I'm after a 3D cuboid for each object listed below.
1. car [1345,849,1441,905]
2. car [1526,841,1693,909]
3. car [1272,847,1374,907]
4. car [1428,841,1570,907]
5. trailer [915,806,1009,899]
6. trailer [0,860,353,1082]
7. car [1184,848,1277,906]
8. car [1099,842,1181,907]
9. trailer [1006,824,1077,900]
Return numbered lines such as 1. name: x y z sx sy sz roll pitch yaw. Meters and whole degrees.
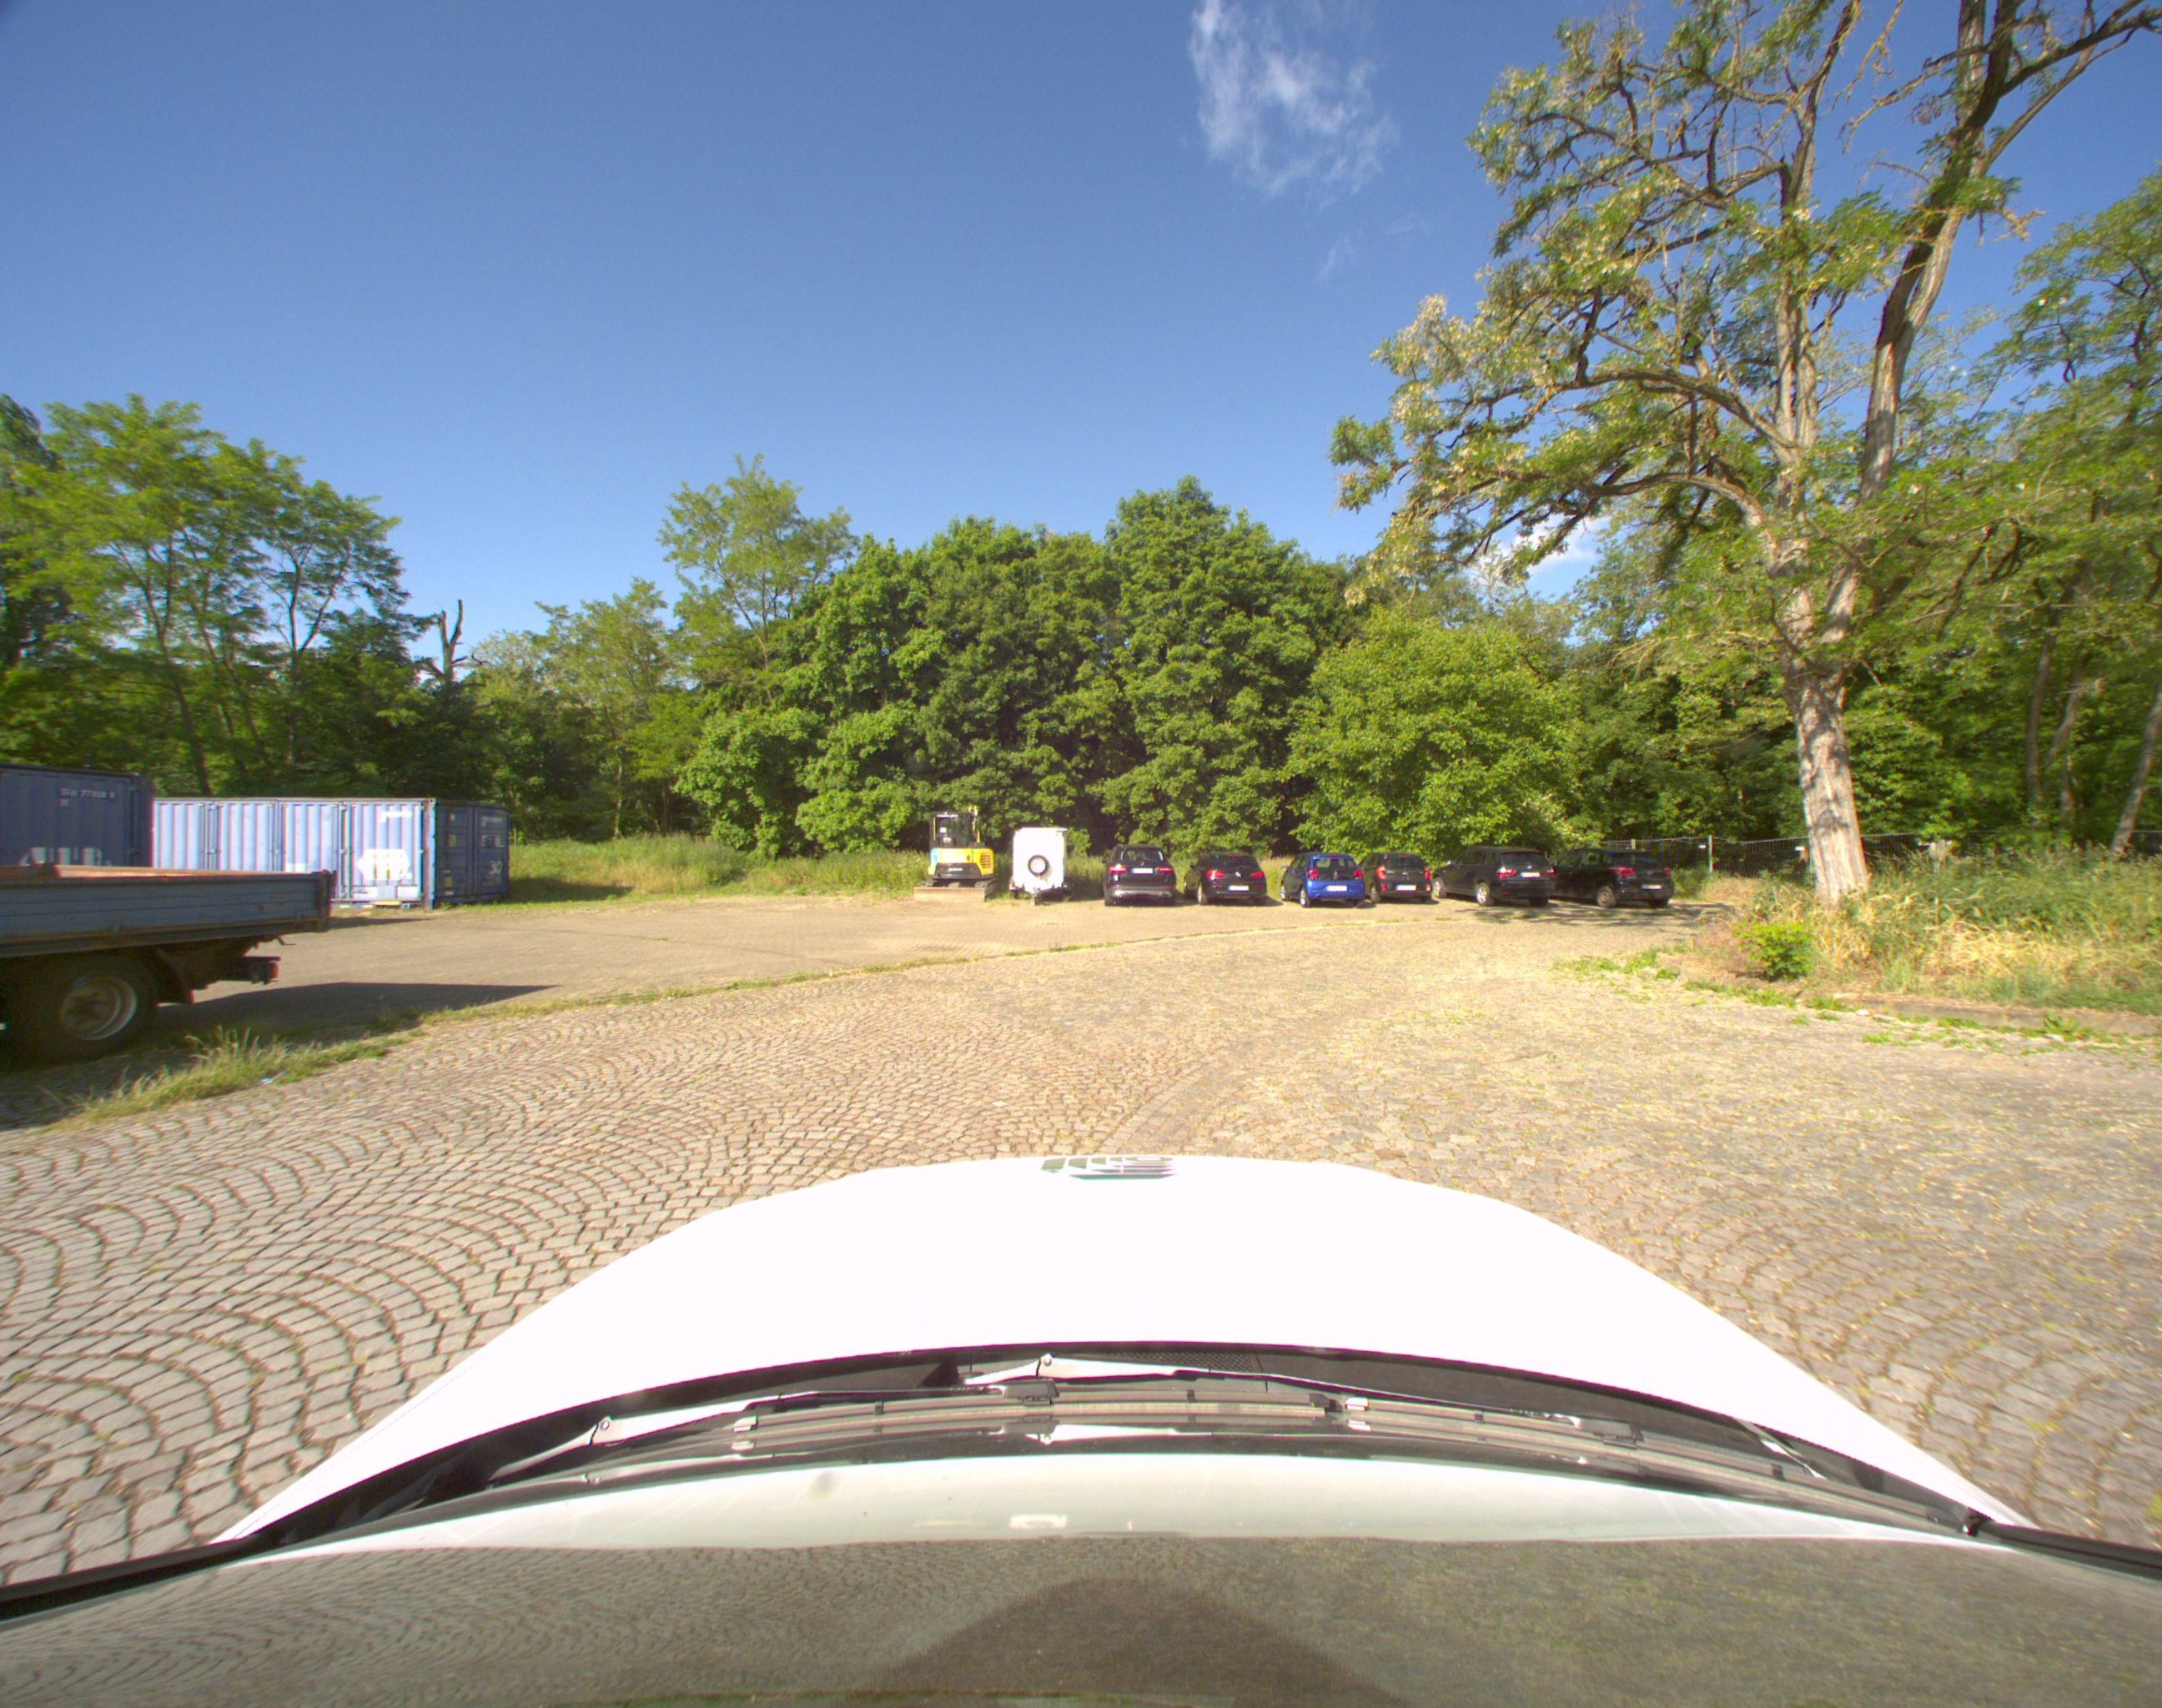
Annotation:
1. car: 9.148 0.608 24.175 1.730 1.451 3.731 1 1 5
2. car: 15.105 0.530 23.616 1.820 1.589 4.268 0 3 -5
3. car: 6.700 0.576 22.920 1.774 1.458 3.791 1 1 1
4. car: 11.997 0.497 23.730 1.869 1.630 4.272 1 2 -1
5. trailer: -3.420 -0.118 23.930 2.250 2.537 2.852 1 3 1
6. trailer: -8.313 0.757 5.354 2.632 1.414 4.861 1 -1 0
7. car: 4.078 0.579 22.814 1.883 1.411 3.790 1 1 0
8. car: 1.541 0.486 22.650 1.958 1.589 4.131 1 1 0
9. trailer: -1.081 0.187 23.666 1.812 2.050 2.851 1 1 1
